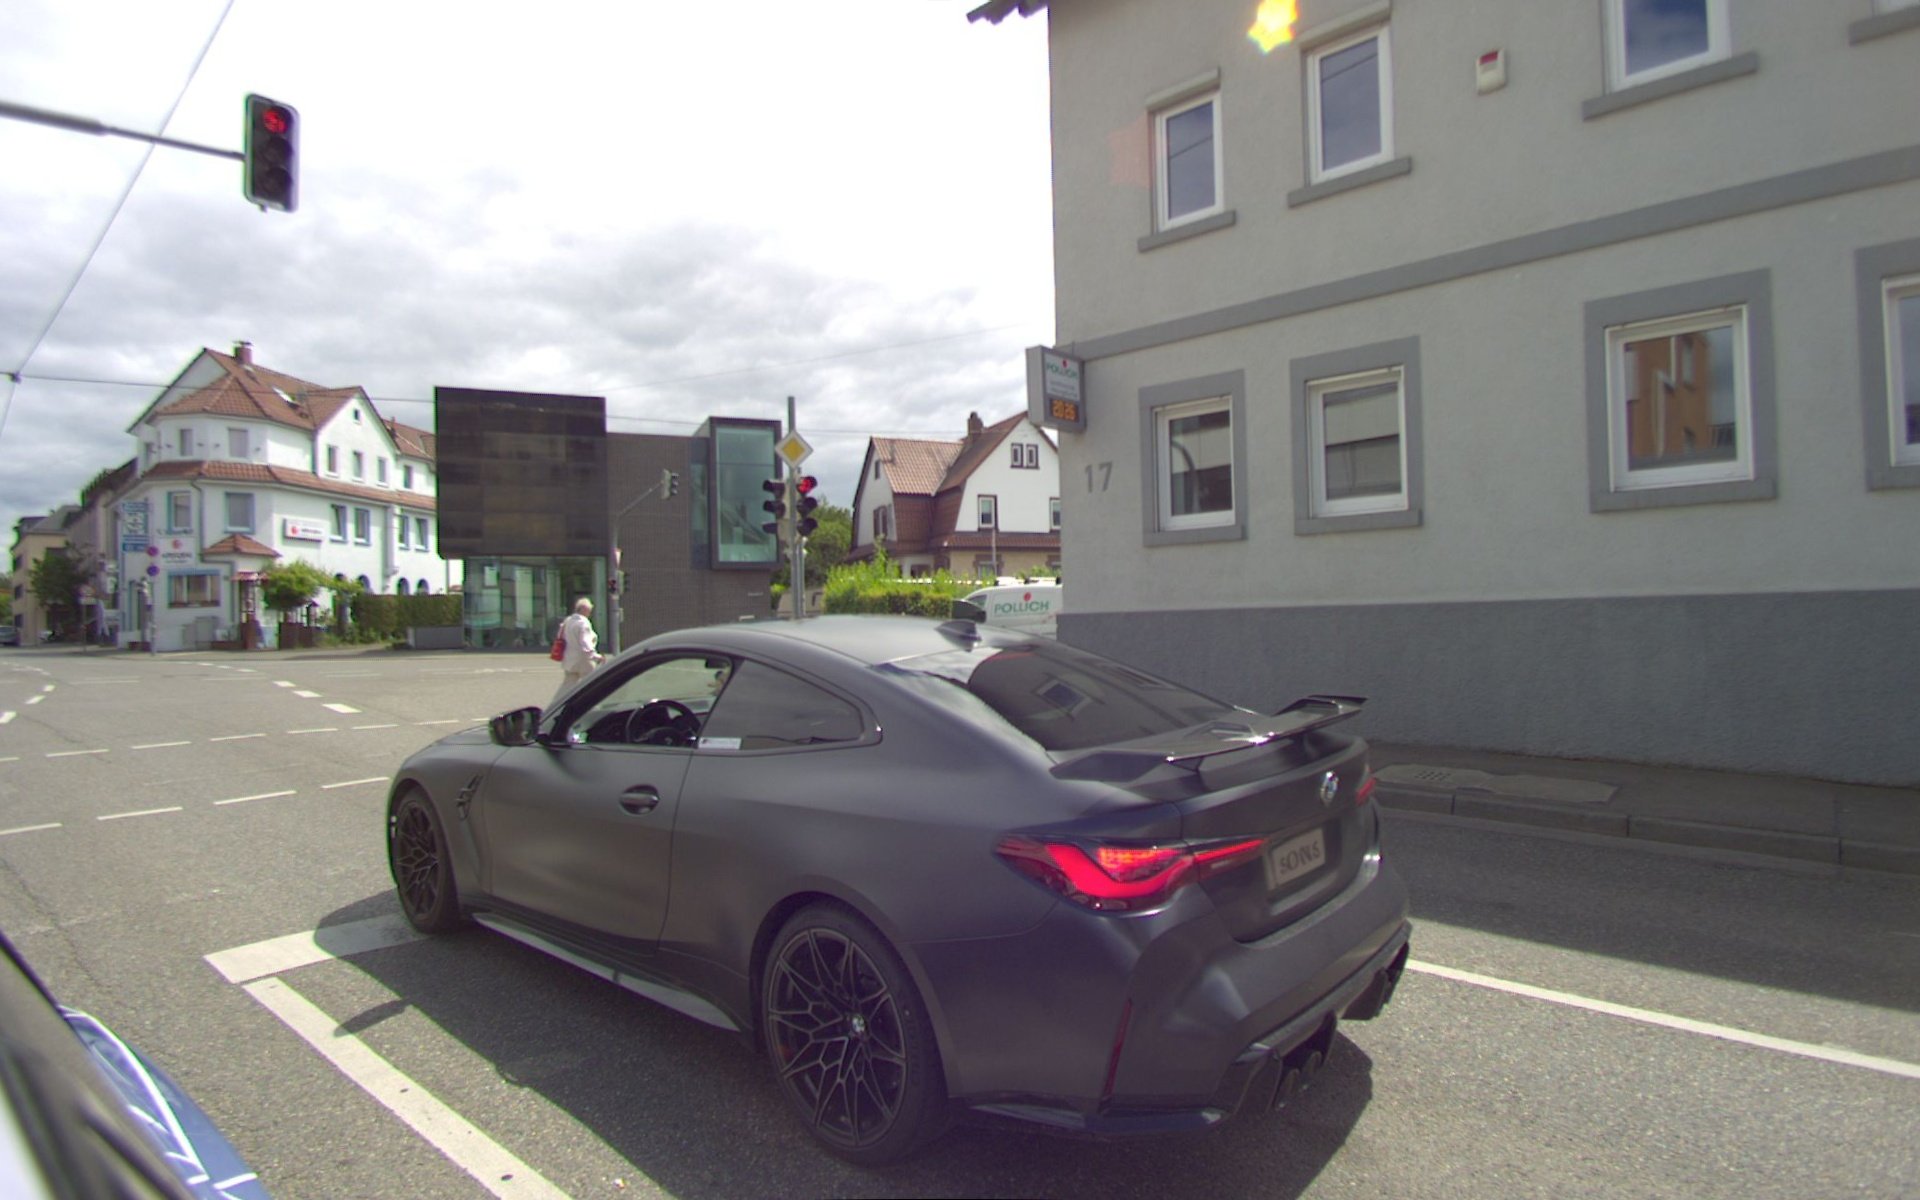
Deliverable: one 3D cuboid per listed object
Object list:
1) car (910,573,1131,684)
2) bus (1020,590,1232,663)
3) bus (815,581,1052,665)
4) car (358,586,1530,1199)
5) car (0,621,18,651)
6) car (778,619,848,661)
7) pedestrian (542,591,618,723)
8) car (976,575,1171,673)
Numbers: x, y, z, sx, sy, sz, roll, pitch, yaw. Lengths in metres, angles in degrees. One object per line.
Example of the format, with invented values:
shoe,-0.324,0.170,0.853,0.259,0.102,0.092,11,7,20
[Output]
car,1.125,0.540,19.959,3.998,1.962,1.973,-1,-2,41
bus,7.246,1.106,43.901,9.031,2.937,2.796,0,-1,-25
bus,-0.982,0.853,40.197,9.031,3.083,2.796,0,-1,-25
car,-0.534,0.759,4.071,4.616,1.468,1.972,-1,-2,42
car,-67.722,2.514,71.024,3.998,2.029,1.973,-1,-1,41
car,-6.683,1.764,45.735,1.965,1.652,4.013,0,1,-27
pedestrian,-4.945,0.724,13.225,0.859,1.650,0.839,0,-1,-15
car,2.524,0.538,23.032,3.999,2.029,1.972,-1,-1,42
